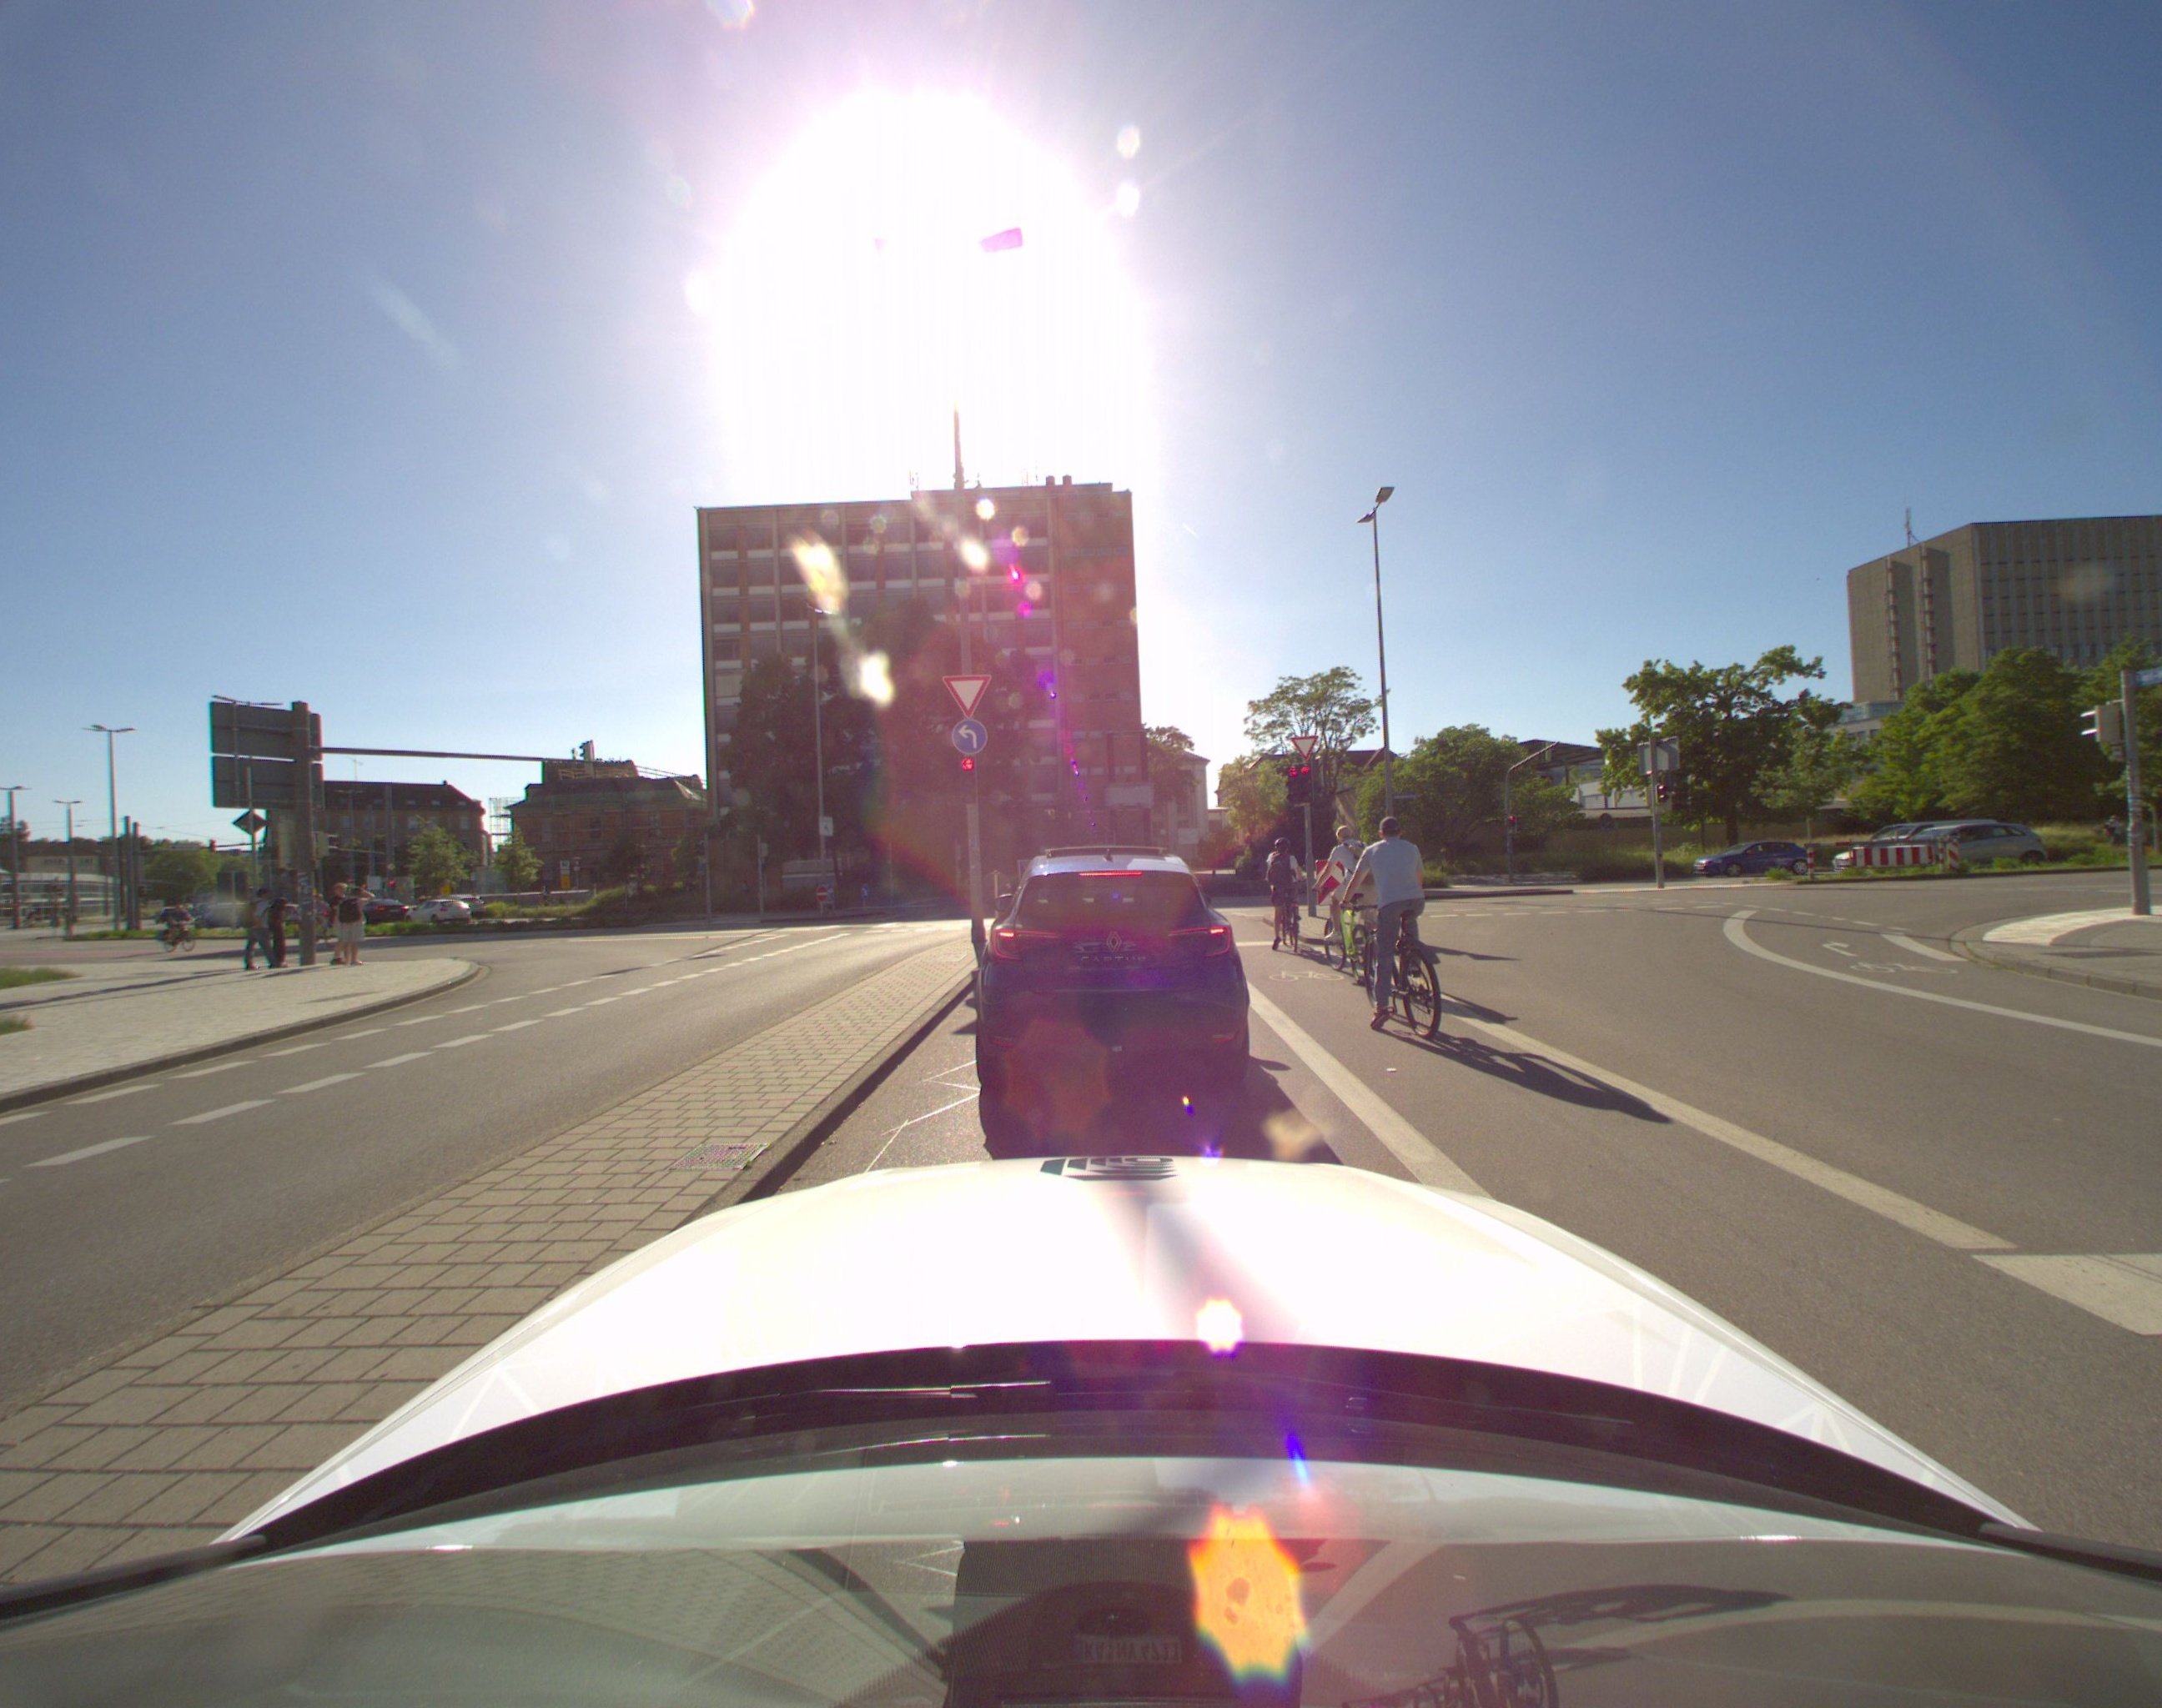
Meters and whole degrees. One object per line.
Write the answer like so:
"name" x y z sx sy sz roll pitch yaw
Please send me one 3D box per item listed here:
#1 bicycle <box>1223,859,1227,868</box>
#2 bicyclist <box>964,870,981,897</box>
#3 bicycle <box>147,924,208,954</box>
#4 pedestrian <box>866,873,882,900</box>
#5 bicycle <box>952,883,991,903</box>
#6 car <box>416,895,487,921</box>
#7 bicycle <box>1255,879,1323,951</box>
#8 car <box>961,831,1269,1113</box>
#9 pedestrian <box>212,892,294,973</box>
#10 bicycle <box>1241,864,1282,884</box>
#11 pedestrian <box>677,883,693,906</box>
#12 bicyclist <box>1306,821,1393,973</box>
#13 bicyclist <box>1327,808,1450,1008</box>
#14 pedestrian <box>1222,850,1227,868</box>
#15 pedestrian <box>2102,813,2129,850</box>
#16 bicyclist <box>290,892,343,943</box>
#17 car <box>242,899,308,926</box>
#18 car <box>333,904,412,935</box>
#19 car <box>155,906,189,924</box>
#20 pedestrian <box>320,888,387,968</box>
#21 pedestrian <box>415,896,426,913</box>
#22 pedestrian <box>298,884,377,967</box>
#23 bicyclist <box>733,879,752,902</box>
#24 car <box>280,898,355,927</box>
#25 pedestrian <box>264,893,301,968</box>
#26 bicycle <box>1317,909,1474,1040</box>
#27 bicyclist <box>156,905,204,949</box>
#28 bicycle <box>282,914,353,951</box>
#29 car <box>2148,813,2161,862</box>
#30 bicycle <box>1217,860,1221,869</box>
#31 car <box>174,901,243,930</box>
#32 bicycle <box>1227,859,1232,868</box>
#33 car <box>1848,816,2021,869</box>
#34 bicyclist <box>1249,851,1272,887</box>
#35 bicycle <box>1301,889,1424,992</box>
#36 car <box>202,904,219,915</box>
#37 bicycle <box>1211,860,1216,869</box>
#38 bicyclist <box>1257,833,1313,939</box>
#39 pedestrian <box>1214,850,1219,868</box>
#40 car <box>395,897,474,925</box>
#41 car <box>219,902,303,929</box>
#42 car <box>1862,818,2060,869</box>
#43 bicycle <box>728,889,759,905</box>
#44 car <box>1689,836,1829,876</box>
"bicycle" 16.662 1.074 94.182 0.403 0.973 1.686 0 -1 6
"bicyclist" -5.882 1.595 44.064 0.741 1.441 0.593 -2 -1 -25
"bicycle" -31.975 3.012 28.822 1.968 0.918 0.690 -5 -1 19
"pedestrian" -12.850 2.017 50.540 0.731 1.603 0.601 -3 -1 18
"bicycle" -5.920 2.110 44.036 2.016 0.964 0.593 -2 -1 -25
"car" -43.197 3.712 55.872 4.779 1.632 1.855 -2 -1 25
"bicycle" 3.254 0.926 12.943 0.735 0.995 2.177 0 -1 6
"car" 0.210 0.707 6.812 1.798 1.632 3.999 -1 0 0
"pedestrian" -18.249 1.709 17.973 0.900 1.690 0.839 -4 -3 -3
"bicycle" 9.675 1.087 43.698 2.068 0.930 0.698 -3 1 11
"pedestrian" -27.501 2.809 56.525 0.852 1.571 0.562 -3 -1 27
"bicyclist" 3.222 0.492 9.859 0.644 1.739 1.065 0 -1 -4
"bicyclist" 2.719 0.457 7.305 0.748 1.668 1.017 0 -1 3
"pedestrian" 16.222 0.599 92.192 0.473 2.014 0.469 -2 -1 8
"pedestrian" 50.310 -1.073 39.614 0.558 1.778 0.528 -2 -1 6
"bicyclist" -24.187 2.012 25.772 1.060 1.500 0.744 -5 -1 17
"car" -53.808 3.921 54.385 4.331 1.632 1.855 -3 -1 27
"car" -42.555 3.920 48.906 4.334 1.632 1.854 -3 -1 23
"car" -89.379 5.982 80.076 4.330 1.632 1.856 -3 -1 37
"pedestrian" -16.353 1.651 18.320 0.785 1.690 0.793 -6 -3 20
"pedestrian" -69.490 5.291 85.638 0.671 1.735 0.663 -3 -1 32
"pedestrian" -17.099 1.627 18.753 0.696 1.800 1.109 -6 -3 24
"bicyclist" -22.100 2.379 53.181 0.928 1.429 0.602 -3 -1 27
"car" -48.451 3.684 51.659 4.334 1.632 1.854 -3 -1 23
"pedestrian" -19.176 1.811 19.555 0.600 1.729 0.572 -2 -1 -45
"bicycle" 2.727 1.003 7.306 0.737 0.896 1.980 0 -1 3
"bicyclist" -31.882 2.575 28.821 1.115 1.422 0.690 -5 -1 18
"bicycle" -24.157 2.483 25.770 1.968 0.995 0.745 -5 -1 17
"car" 36.993 -0.627 25.358 4.713 1.584 2.002 -2 -1 3
"bicycle" 15.884 1.221 93.832 0.403 0.973 1.686 0 -1 6
"car" -55.153 3.907 51.483 4.331 1.632 1.855 -3 -1 27
"bicycle" 17.196 1.070 94.182 0.403 0.973 1.686 0 -1 6
"car" 35.259 -0.444 33.769 4.856 2.107 2.002 0 -1 4
"bicyclist" 9.608 0.791 43.650 1.094 1.867 0.655 -3 -1 12
"bicycle" 3.238 0.951 9.567 0.657 1.003 1.967 0 -1 -4
"car" -169.694 10.869 158.729 3.948 2.013 2.013 -3 -1 38
"bicycle" 15.266 1.226 93.890 0.403 0.973 1.686 0 -1 6
"bicyclist" 3.245 0.499 12.997 0.722 1.629 0.970 0 -1 6
"pedestrian" 15.110 0.597 90.867 0.473 2.014 0.524 -2 -1 8
"car" -36.387 3.200 45.865 3.803 1.435 1.752 -2 -1 21
"car" -49.006 3.678 48.672 4.841 1.388 1.854 -3 -1 23
"car" 28.149 -0.320 26.175 4.025 1.408 1.872 -2 -1 8
"bicycle" -22.027 2.791 53.140 2.056 0.964 0.602 -3 -1 28
"car" 28.224 0.097 34.017 4.140 1.435 1.747 -2 -1 8
